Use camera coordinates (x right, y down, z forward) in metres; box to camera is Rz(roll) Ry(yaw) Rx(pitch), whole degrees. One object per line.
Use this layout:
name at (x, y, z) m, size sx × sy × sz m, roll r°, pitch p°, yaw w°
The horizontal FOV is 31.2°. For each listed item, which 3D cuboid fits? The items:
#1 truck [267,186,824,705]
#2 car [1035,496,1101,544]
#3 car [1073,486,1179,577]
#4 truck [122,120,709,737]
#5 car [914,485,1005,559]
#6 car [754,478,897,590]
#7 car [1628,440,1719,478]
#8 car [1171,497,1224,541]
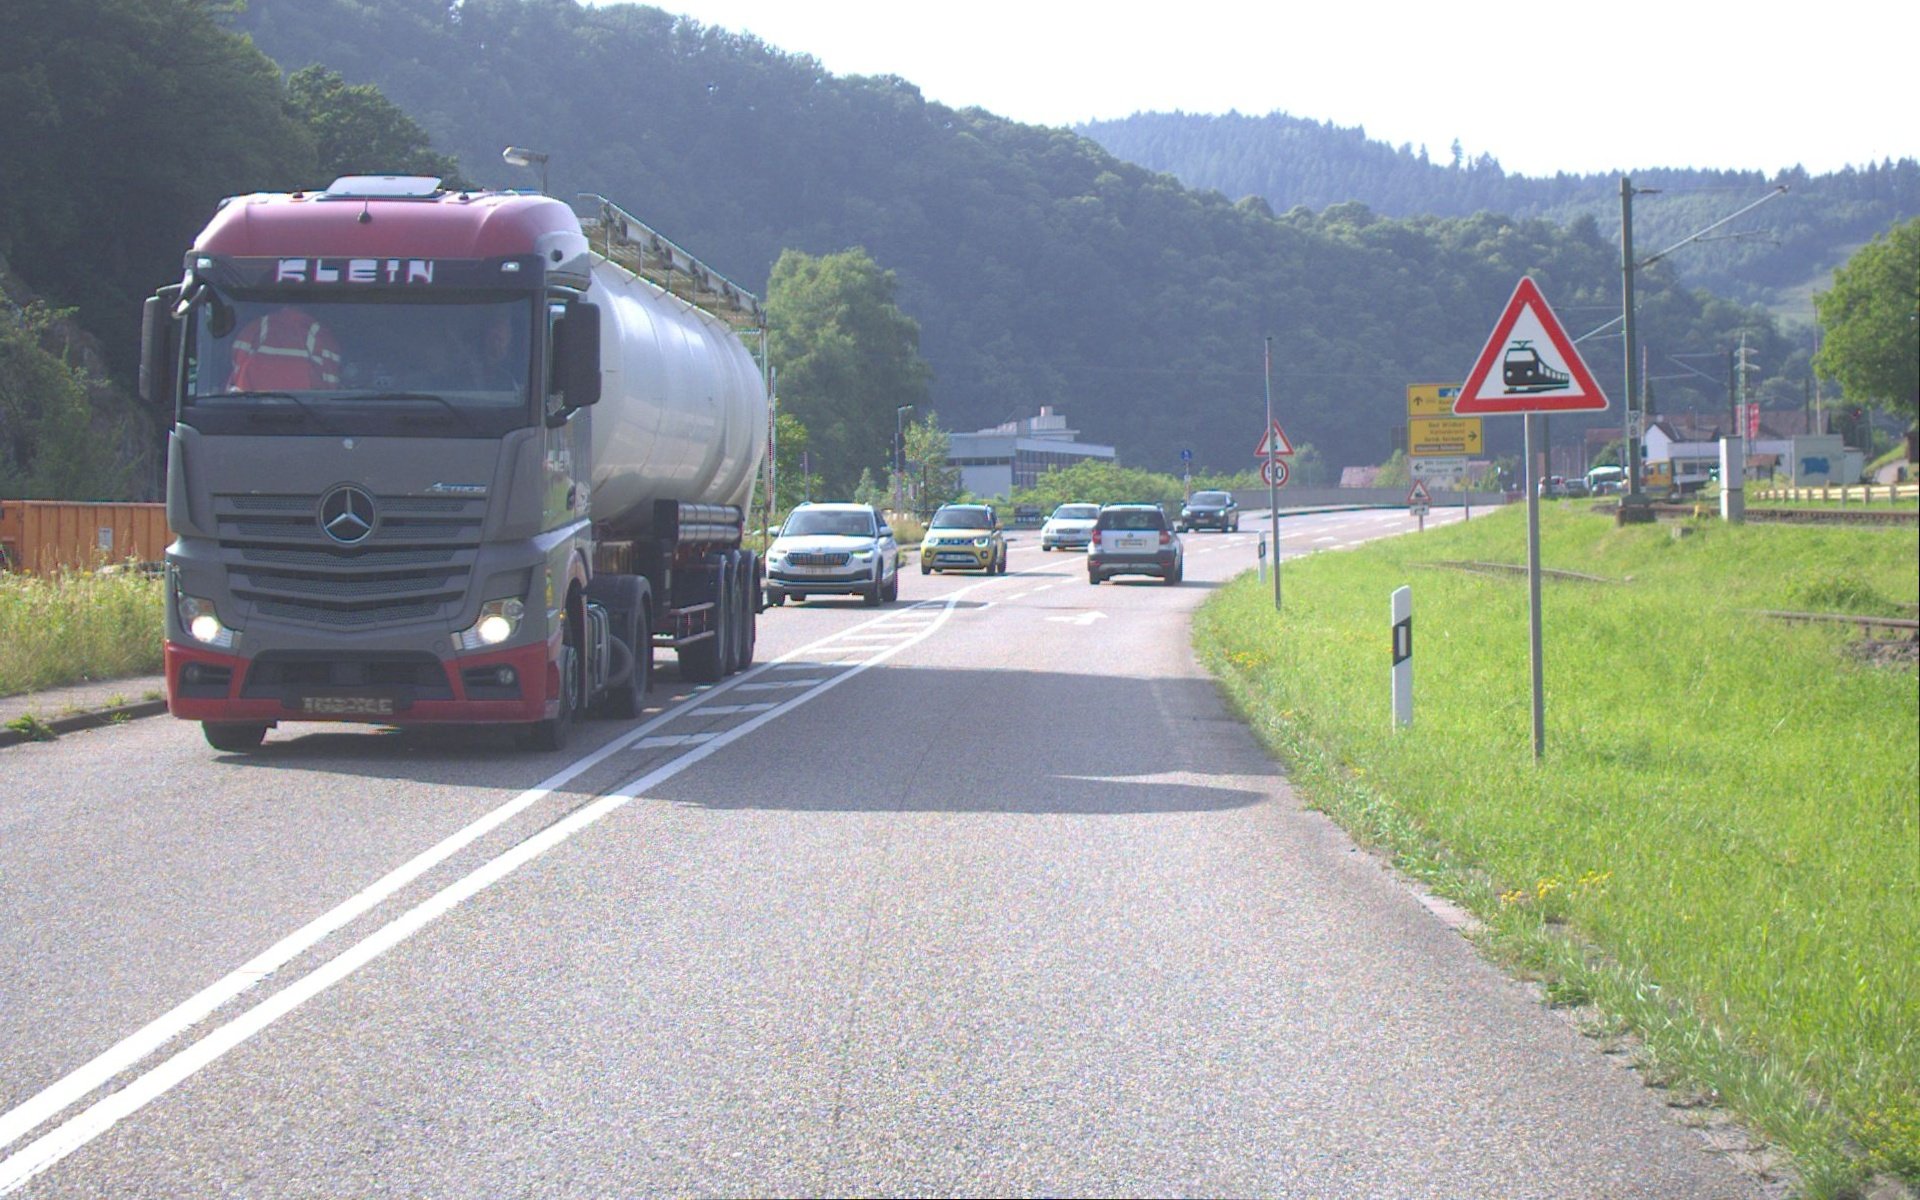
truck at (-3.352, -1.333, 32.690) m, size 2.750 × 3.822 × 14.561 m, roll 0°, pitch 2°, yaw 3°
car at (3.239, -2.403, 102.489) m, size 1.778 × 1.343 × 4.510 m, roll 1°, pitch 2°, yaw 4°
car at (3.462, -1.429, 71.114) m, size 1.994 × 1.717 × 3.990 m, roll -3°, pitch 1°, yaw 5°
truck at (-3.683, -1.172, 25.460) m, size 2.750 × 3.822 × 8.198 m, roll 0°, pitch 2°, yaw 2°
car at (0.018, -1.777, 77.772) m, size 1.724 × 1.619 × 3.796 m, roll 0°, pitch 2°, yaw 5°
car at (-2.175, -1.106, 56.810) m, size 1.993 × 1.752 × 4.469 m, roll 1°, pitch 1°, yaw 2°
car at (44.074, -8.693, 212.353) m, size 5.283 × 2.006 × 1.999 m, roll -3°, pitch 2°, yaw 17°
car at (9.057, -3.085, 130.683) m, size 1.847 × 1.579 × 4.316 m, roll 1°, pitch 2°, yaw 6°
